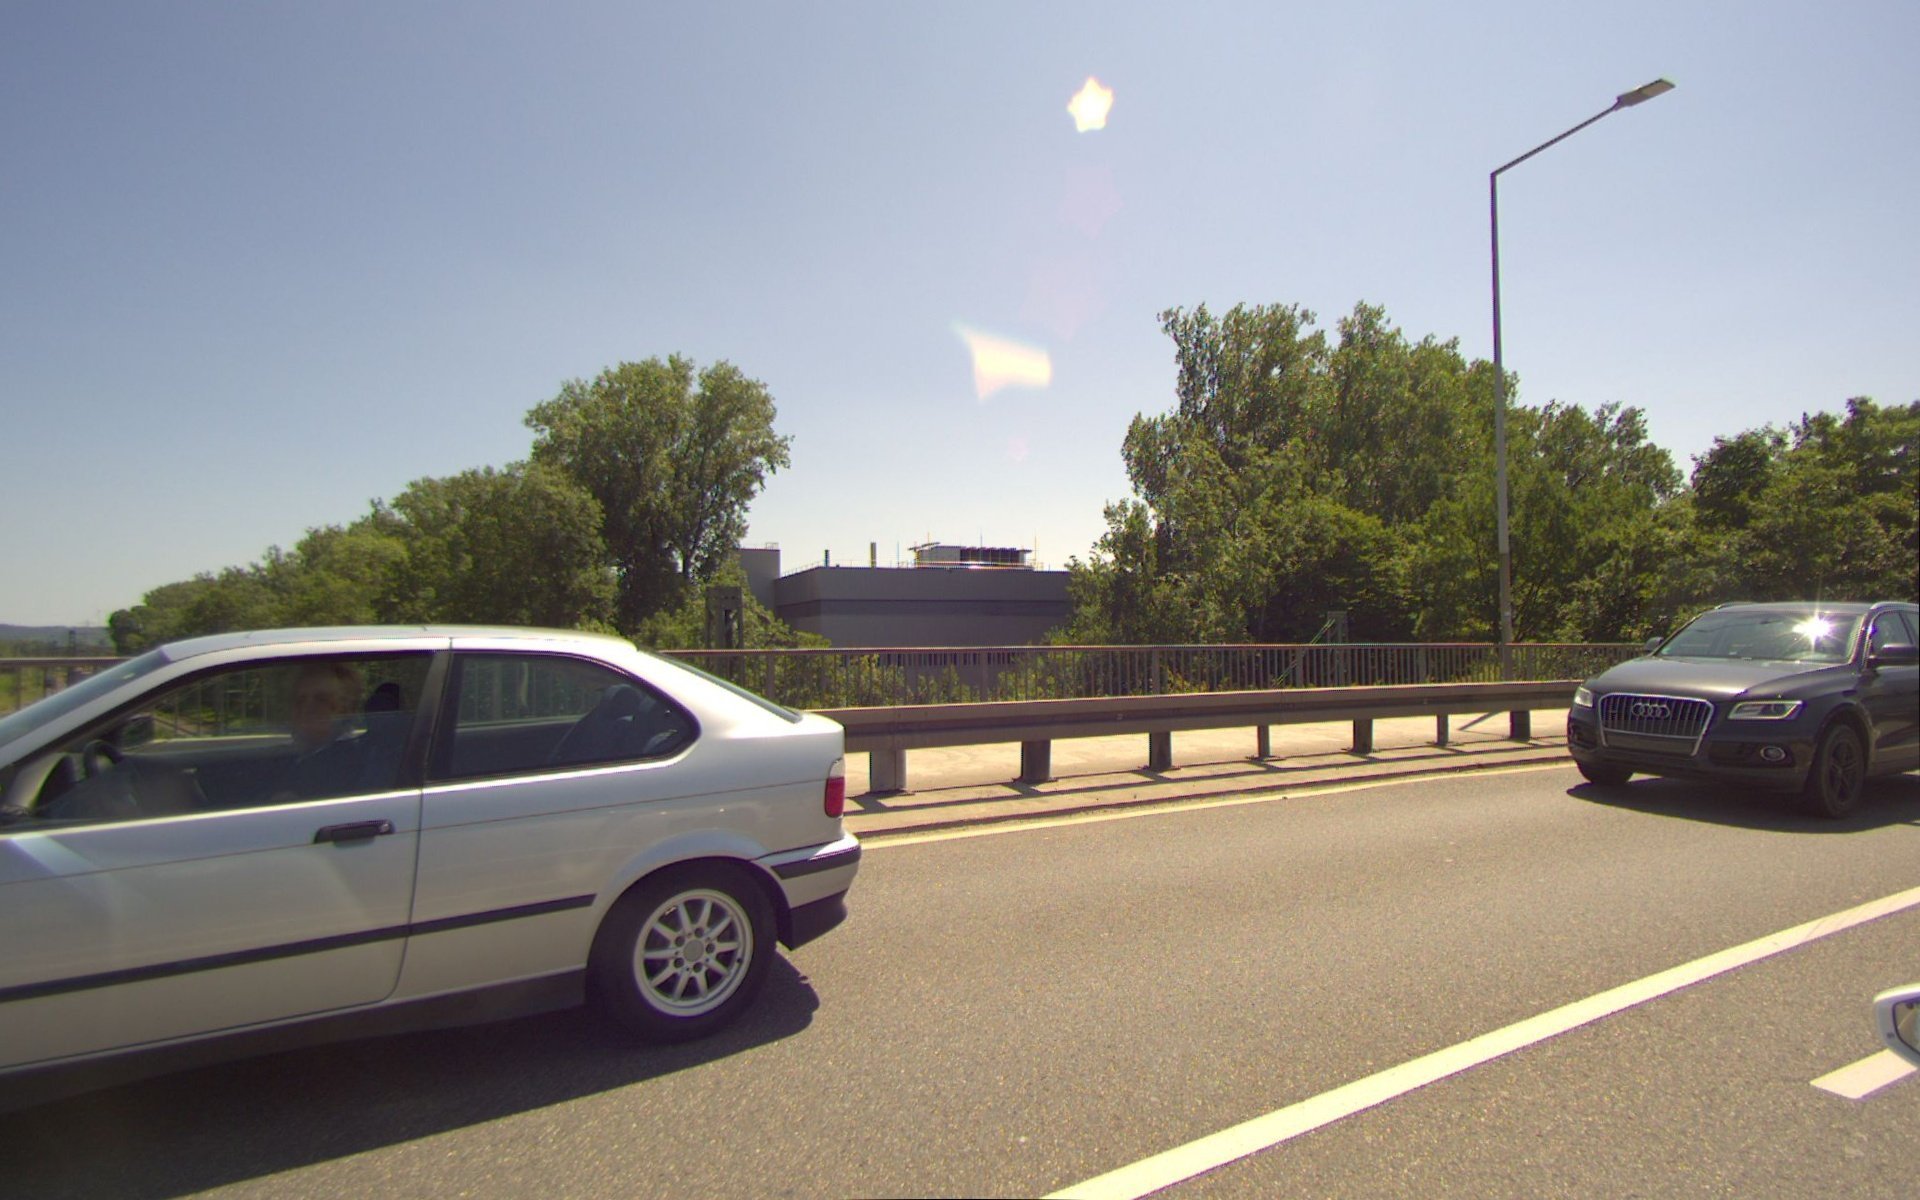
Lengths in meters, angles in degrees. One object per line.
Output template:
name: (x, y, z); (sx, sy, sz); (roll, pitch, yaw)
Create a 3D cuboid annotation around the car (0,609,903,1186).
car: (-2.333, 0.742, 3.403); (3.953, 1.394, 1.689); (1, -1, -30)

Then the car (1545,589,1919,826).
car: (7.329, 0.797, 8.854); (4.246, 1.662, 1.794); (1, -1, -28)

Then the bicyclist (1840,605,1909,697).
bicyclist: (15.684, 0.857, 17.232); (0.884, 1.541, 0.581); (1, -1, -25)
